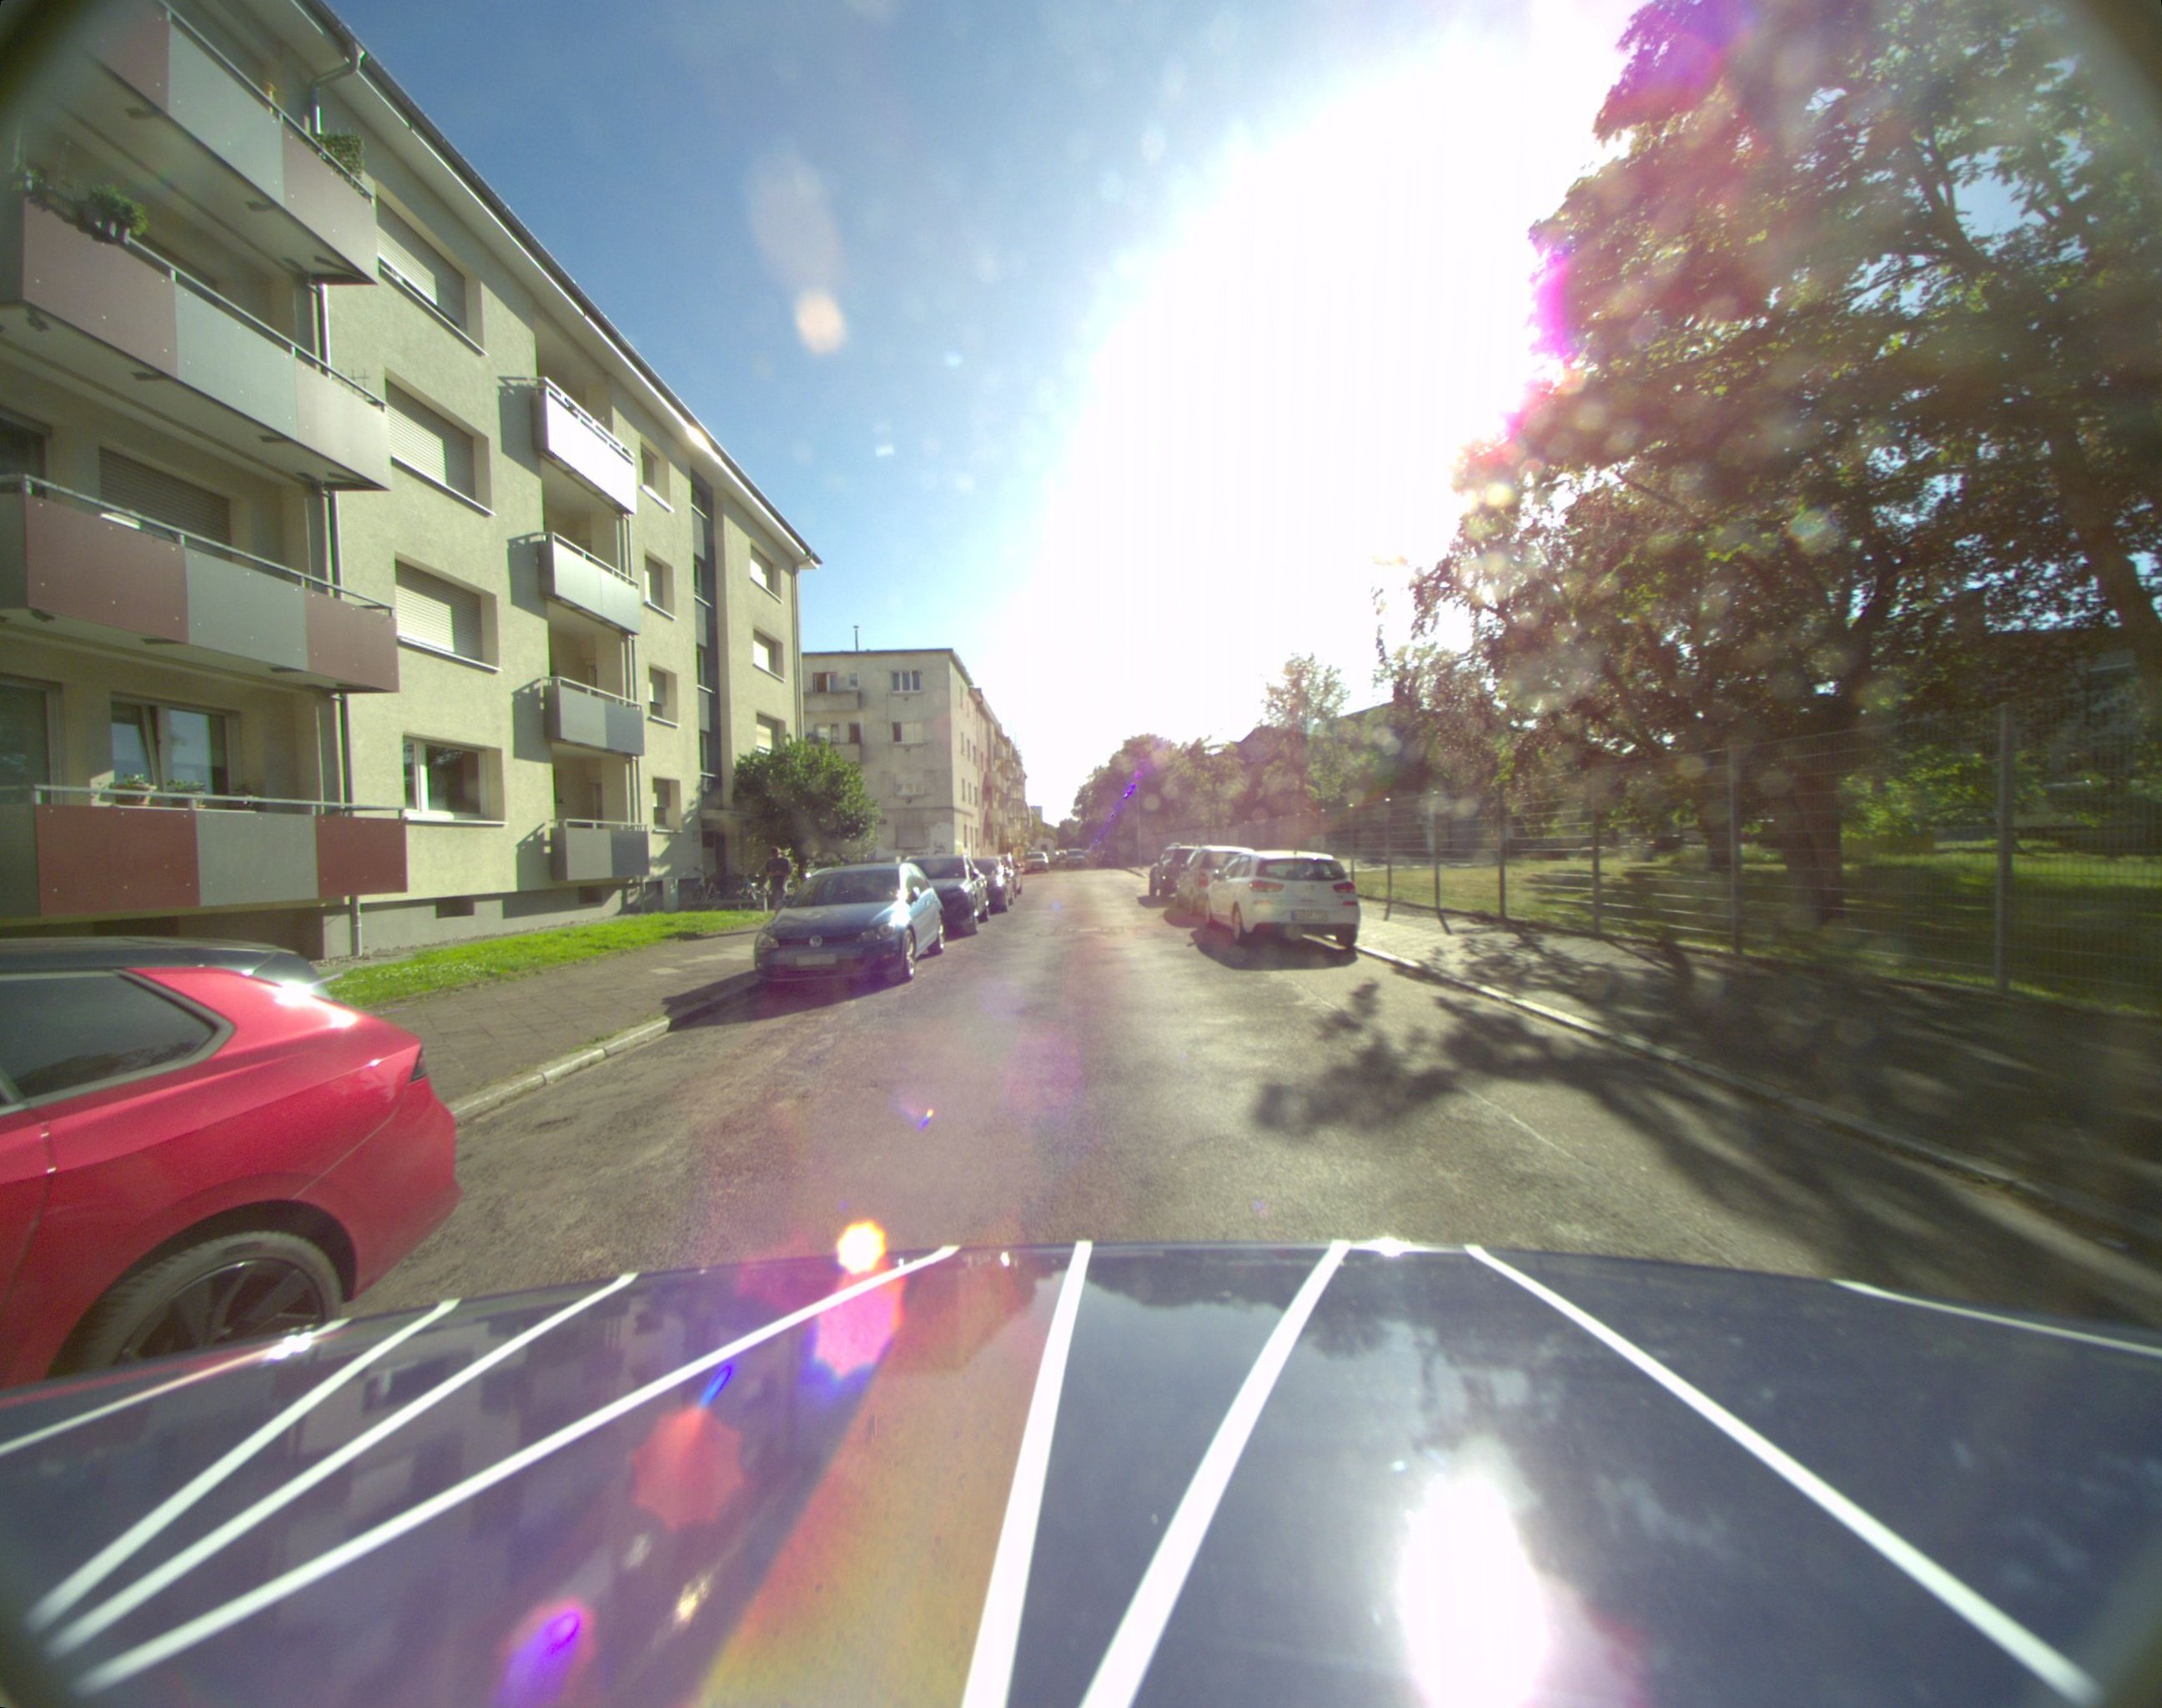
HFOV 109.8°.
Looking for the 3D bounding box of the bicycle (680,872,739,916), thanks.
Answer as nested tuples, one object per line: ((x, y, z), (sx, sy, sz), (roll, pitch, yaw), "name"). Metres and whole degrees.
((-9.491, 0.995, 19.488), (0.486, 0.955, 2.282), (-2, 1, -3), "bicycle")

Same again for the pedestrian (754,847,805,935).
((-6.377, 0.763, 16.106), (0.647, 1.762, 0.841), (-3, 2, 0), "pedestrian")

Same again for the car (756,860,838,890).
((-15.288, 1.116, 40.984), (3.718, 1.450, 1.692), (-2, 0, 0), "car")

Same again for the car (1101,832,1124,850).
((2.734, -1.161, 67.437), (1.652, 1.409, 3.998), (-3, 1, -2), "car")

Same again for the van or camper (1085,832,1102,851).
((1.690, -1.685, 103.973), (2.126, 2.485, 3.998), (-3, 2, -2), "van or camper")

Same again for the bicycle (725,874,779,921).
((-8.360, 1.075, 19.415), (0.486, 1.006, 2.282), (-2, 1, -3), "bicycle")

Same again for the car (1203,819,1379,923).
((3.290, 0.193, 12.745), (1.798, 1.437, 4.118), (-1, 1, 0), "car")

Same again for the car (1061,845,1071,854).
((-2.852, -0.801, 141.562), (1.652, 1.451, 3.998), (-3, 1, -2), "car")

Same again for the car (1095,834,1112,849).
((2.705, -1.531, 92.322), (1.652, 1.674, 3.998), (-3, 1, -2), "car")

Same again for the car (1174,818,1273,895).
((3.275, 0.008, 18.130), (1.568, 1.634, 3.614), (1, 1, -1), "car")

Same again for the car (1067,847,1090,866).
((-0.268, 0.195, 67.818), (1.862, 1.543, 3.998), (-1, 1, -2), "car")

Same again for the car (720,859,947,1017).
((-3.002, 0.911, 10.175), (1.757, 1.472, 4.078), (-3, 2, -2), "car")

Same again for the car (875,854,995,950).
((-2.875, 0.871, 15.877), (1.757, 1.550, 4.253), (-3, 1, -2), "car")

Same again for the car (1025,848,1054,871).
((-3.195, 0.397, 58.975), (2.070, 1.544, 3.998), (-3, 1, -2), "car")

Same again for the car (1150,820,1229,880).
((3.218, -0.151, 23.312), (1.717, 1.654, 4.163), (1, 1, -1), "car")

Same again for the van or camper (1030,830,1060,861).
((-3.807, -0.938, 81.509), (2.958, 3.161, 6.171), (-1, 1, -1), "van or camper")

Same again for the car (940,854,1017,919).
((-2.741, 0.811, 21.067), (1.609, 1.476, 3.796), (-3, 1, -1), "car")

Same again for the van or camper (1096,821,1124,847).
((2.762, -1.900, 73.316), (2.212, 2.268, 5.308), (-3, 2, -2), "van or camper")

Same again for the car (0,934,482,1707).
((-3.052, 1.087, 0.373), (1.756, 1.436, 4.522), (-3, 1, 2), "car")

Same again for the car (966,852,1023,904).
((-2.992, 0.780, 27.043), (1.622, 1.540, 4.083), (-2, 2, -1), "car")
